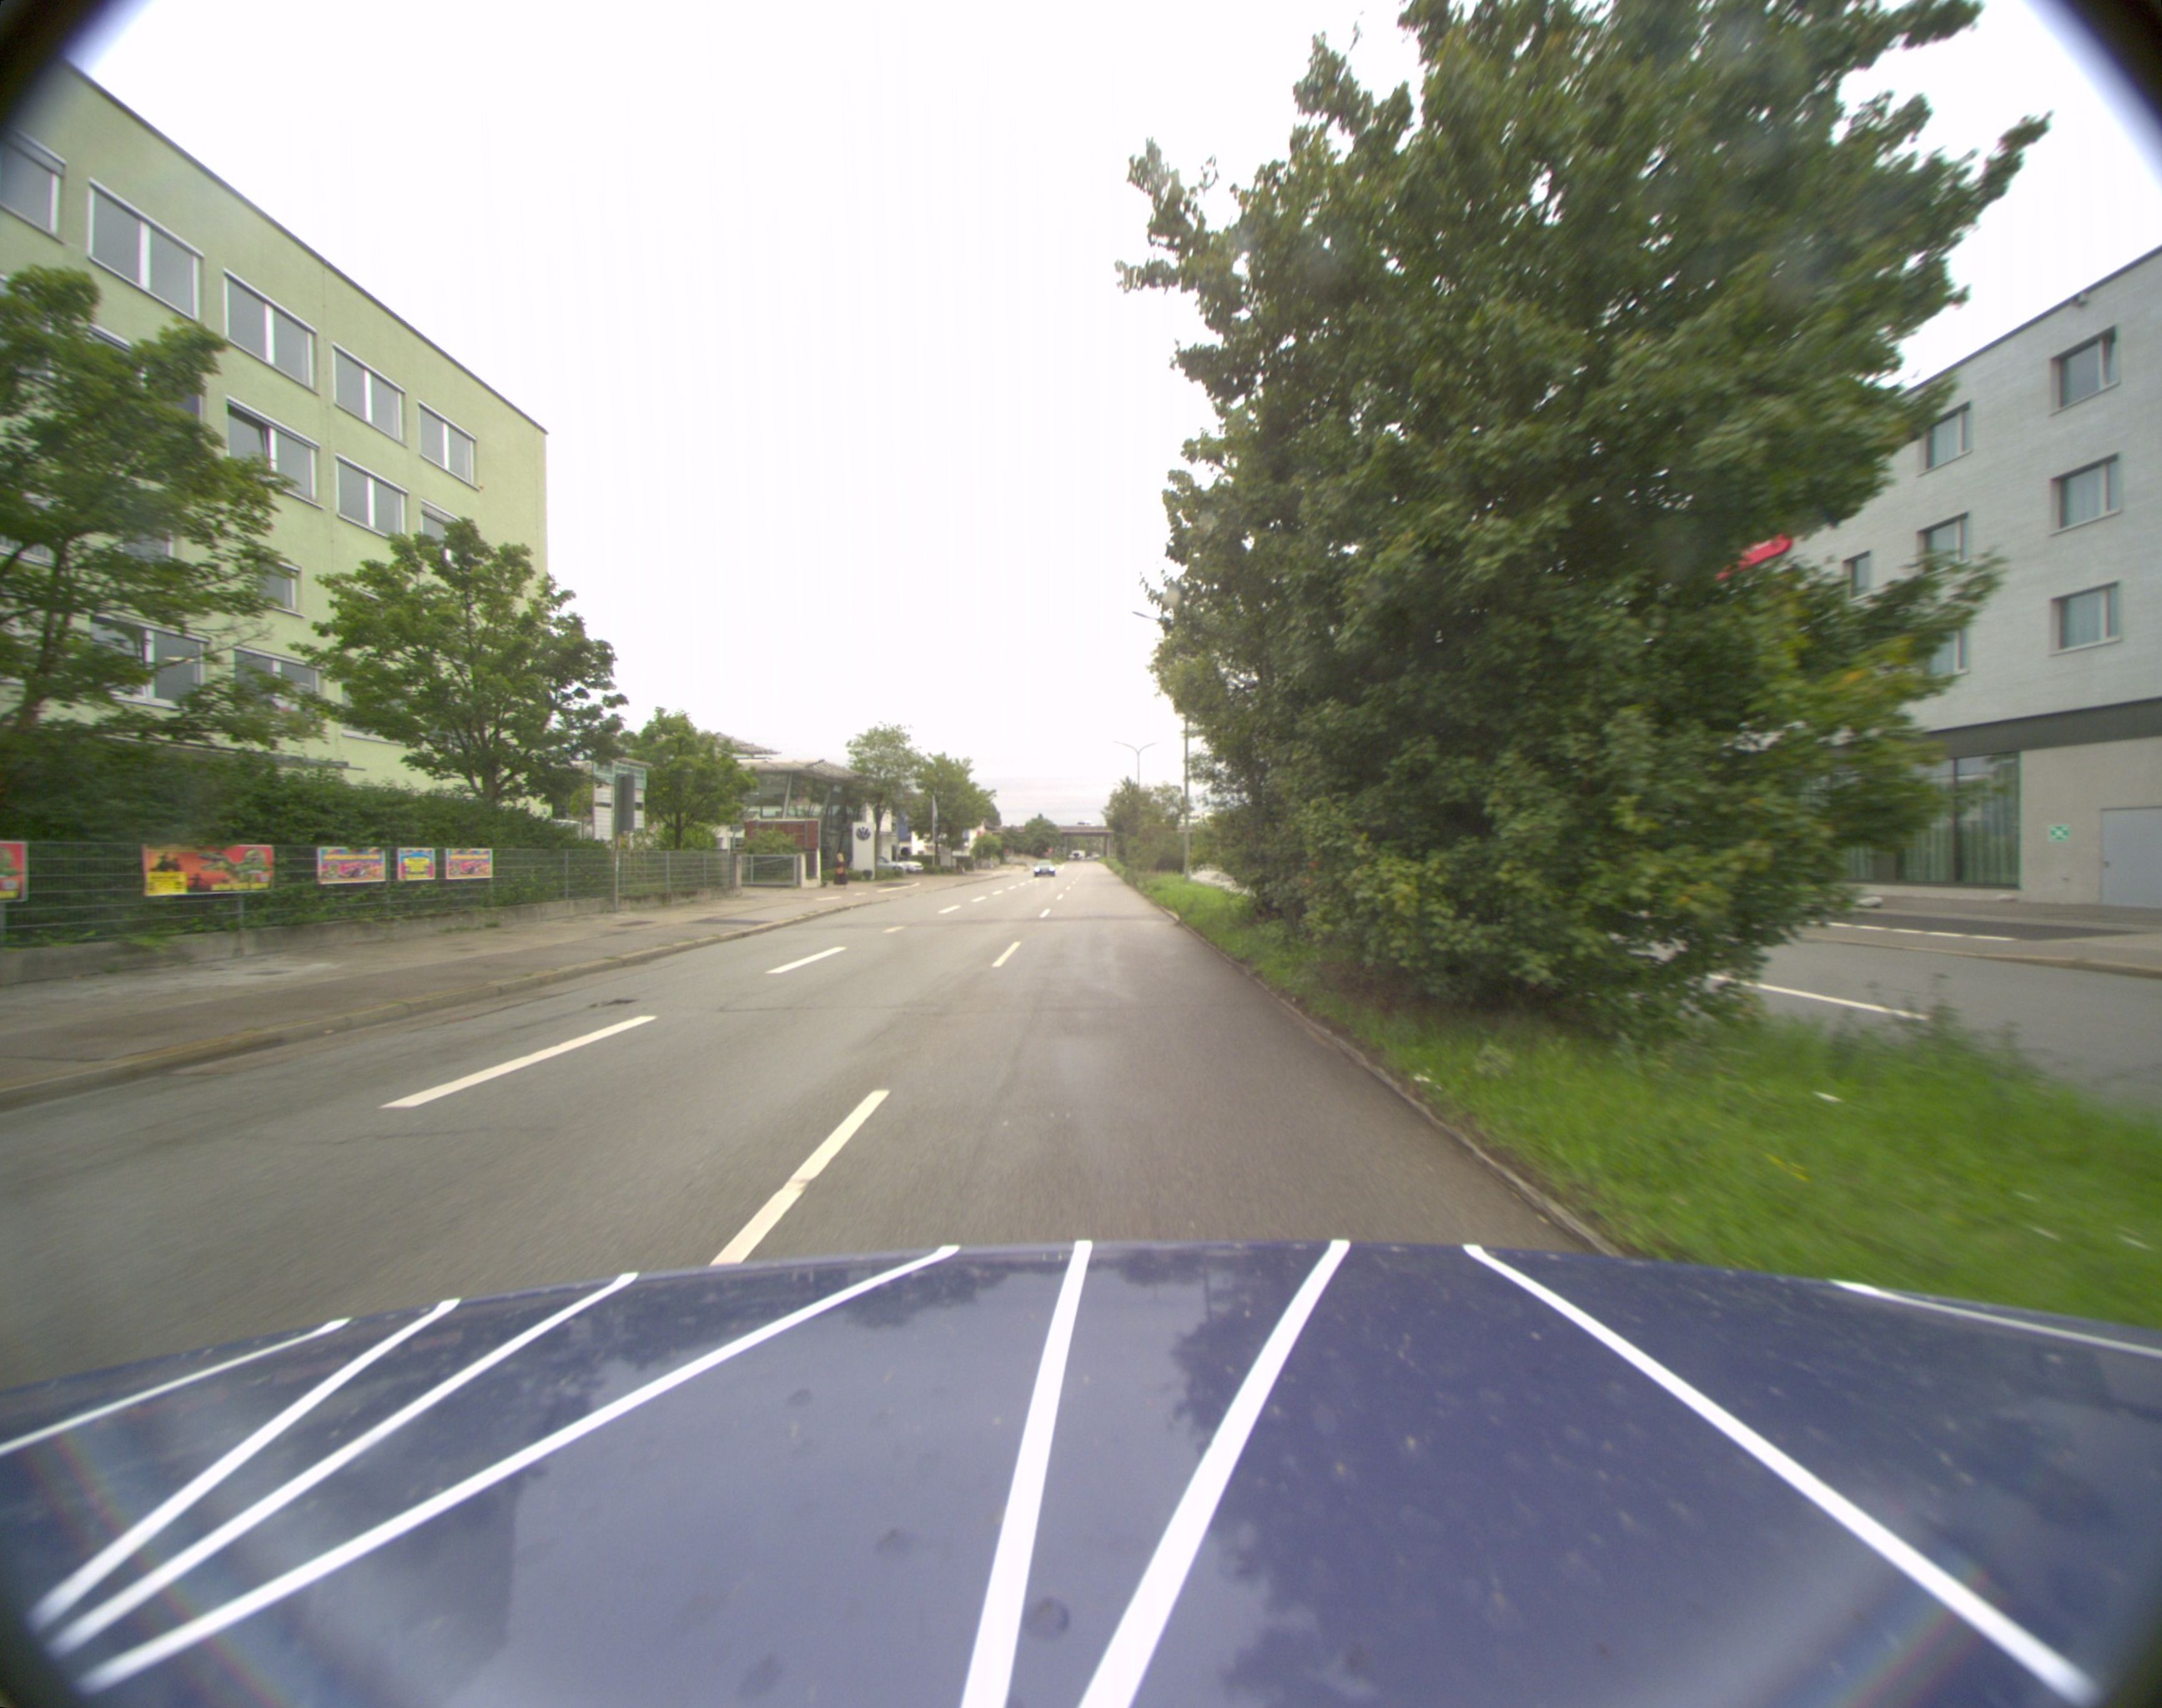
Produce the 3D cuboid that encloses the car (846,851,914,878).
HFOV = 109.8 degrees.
[{"bbox_3d":[-14.968,0.757,56.651,4.651,1.832,1.798,-2,1,-22],"label":"car"}]

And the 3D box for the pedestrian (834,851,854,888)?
[{"bbox_3d":[-11.771,0.770,37.750,0.683,1.811,0.688,-2,1,0],"label":"pedestrian"}]

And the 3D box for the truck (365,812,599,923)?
[{"bbox_3d":[-16.700,0.321,21.689,1.997,2.732,5.306,-1,0,7],"label":"truck"}]

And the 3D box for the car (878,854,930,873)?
[{"bbox_3d":[-15.264,0.828,65.463,3.991,1.500,1.804,-1,0,22],"label":"car"}]

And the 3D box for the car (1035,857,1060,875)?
[{"bbox_3d":[-2.951,1.028,68.306,1.916,1.498,4.439,-2,0,2],"label":"car"}]
